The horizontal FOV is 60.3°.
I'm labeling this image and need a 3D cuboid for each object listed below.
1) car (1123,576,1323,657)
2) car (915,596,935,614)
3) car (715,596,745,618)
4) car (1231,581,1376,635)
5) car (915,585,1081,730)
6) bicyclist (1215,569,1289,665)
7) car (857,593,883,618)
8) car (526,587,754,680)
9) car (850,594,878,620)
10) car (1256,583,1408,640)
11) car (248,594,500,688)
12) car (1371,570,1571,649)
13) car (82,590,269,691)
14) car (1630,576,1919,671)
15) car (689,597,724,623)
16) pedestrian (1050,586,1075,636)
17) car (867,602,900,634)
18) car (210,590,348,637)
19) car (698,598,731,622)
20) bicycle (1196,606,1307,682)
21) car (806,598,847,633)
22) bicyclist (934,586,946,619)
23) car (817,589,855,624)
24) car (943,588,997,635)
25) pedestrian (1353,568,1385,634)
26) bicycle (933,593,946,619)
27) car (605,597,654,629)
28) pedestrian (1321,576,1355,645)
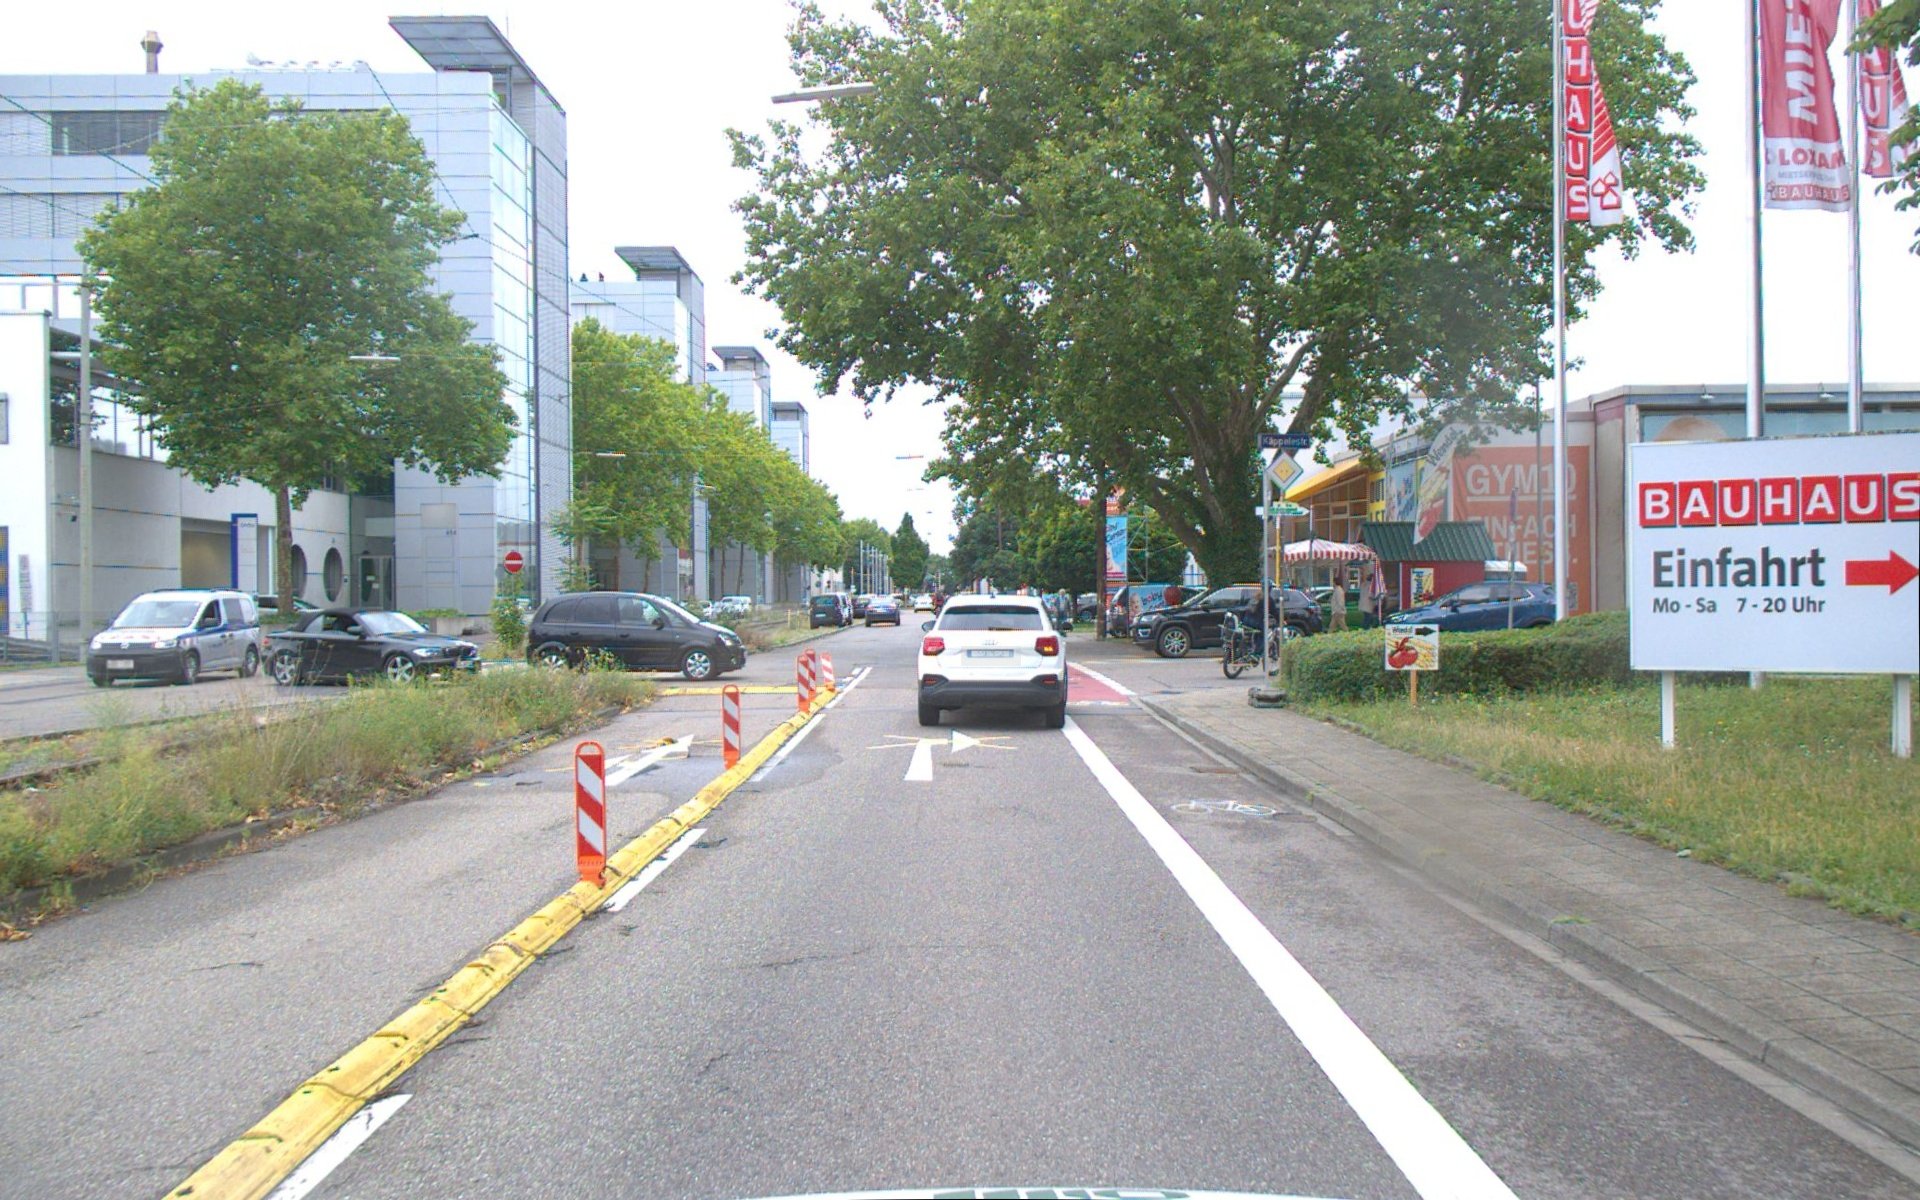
[{"bbox_3d":[5.916,0.373,37.604,4.225,1.706,1.992,-1,0,0],"label":"car"},{"bbox_3d":[-3.188,0.431,150.508,1.759,1.540,3.704,1,1,-3],"label":"car"},{"bbox_3d":[-17.931,0.556,128.985,1.839,1.661,4.204,-1,0,-2],"label":"car"},{"bbox_3d":[10.774,0.238,52.069,4.129,1.579,1.789,-1,0,-3],"label":"car"},{"bbox_3d":[0.381,0.641,20.672,1.787,1.628,3.773,1,1,-3],"label":"car"},{"bbox_3d":[5.171,0.285,29.268,0.803,1.658,1.230,-1,0,37],"label":"bicyclist"},{"bbox_3d":[-6.754,0.422,124.491,1.839,1.794,3.999,-1,0,-2],"label":"car"},{"bbox_3d":[-5.807,0.599,30.328,3.804,1.583,1.825,1,0,-1],"label":"car"},{"bbox_3d":[-6.905,0.462,119.276,1.839,1.794,3.999,-1,0,-2],"label":"car"},{"bbox_3d":[11.204,0.340,49.927,4.129,1.579,1.789,-1,0,-3],"label":"car"},{"bbox_3d":[-10.475,0.744,29.577,4.032,1.501,1.825,-3,-2,22],"label":"car"},{"bbox_3d":[11.770,0.206,38.346,4.123,1.706,1.994,-1,0,7],"label":"car"},{"bbox_3d":[-15.312,0.745,32.557,1.783,1.814,4.423,-1,0,-4],"label":"car"},{"bbox_3d":[14.959,0.410,30.403,4.460,1.599,1.992,-1,0,-1],"label":"car"},{"bbox_3d":[-17.483,0.684,114.115,1.839,1.661,4.204,-1,0,-2],"label":"car"},{"bbox_3d":[3.596,0.381,57.874,0.746,1.734,0.681,-1,0,-5],"label":"pedestrian"},{"bbox_3d":[-3.924,0.894,84.871,1.650,1.540,3.704,1,1,-3],"label":"car"},{"bbox_3d":[-25.686,0.507,62.533,4.422,1.699,1.824,1,0,-3],"label":"car"},{"bbox_3d":[-17.630,0.703,119.069,1.839,1.661,4.204,-1,0,-2],"label":"car"},{"bbox_3d":[5.182,0.751,29.270,0.803,1.234,2.672,-1,0,37],"label":"bicycle"},{"bbox_3d":[-6.822,0.770,85.059,1.839,1.661,3.999,-1,0,-2],"label":"car"},{"bbox_3d":[-1.164,0.137,95.096,0.657,1.847,0.759,1,0,-3],"label":"bicyclist"},{"bbox_3d":[-6.798,0.341,90.876,1.839,1.794,3.999,-1,0,-2],"label":"car"},{"bbox_3d":[0.349,0.411,61.437,1.839,1.661,3.999,-1,0,-2],"label":"car"},{"bbox_3d":[11.022,0.026,44.621,0.665,1.734,0.598,-1,0,-3],"label":"pedestrian"},{"bbox_3d":[-1.164,0.343,94.988,0.657,1.418,2.165,1,0,-3],"label":"bicycle"},{"bbox_3d":[-17.898,0.689,89.705,1.839,1.661,4.204,-1,0,-2],"label":"car"},{"bbox_3d":[9.557,0.260,41.842,0.665,1.734,0.598,-1,0,-3],"label":"pedestrian"}]
